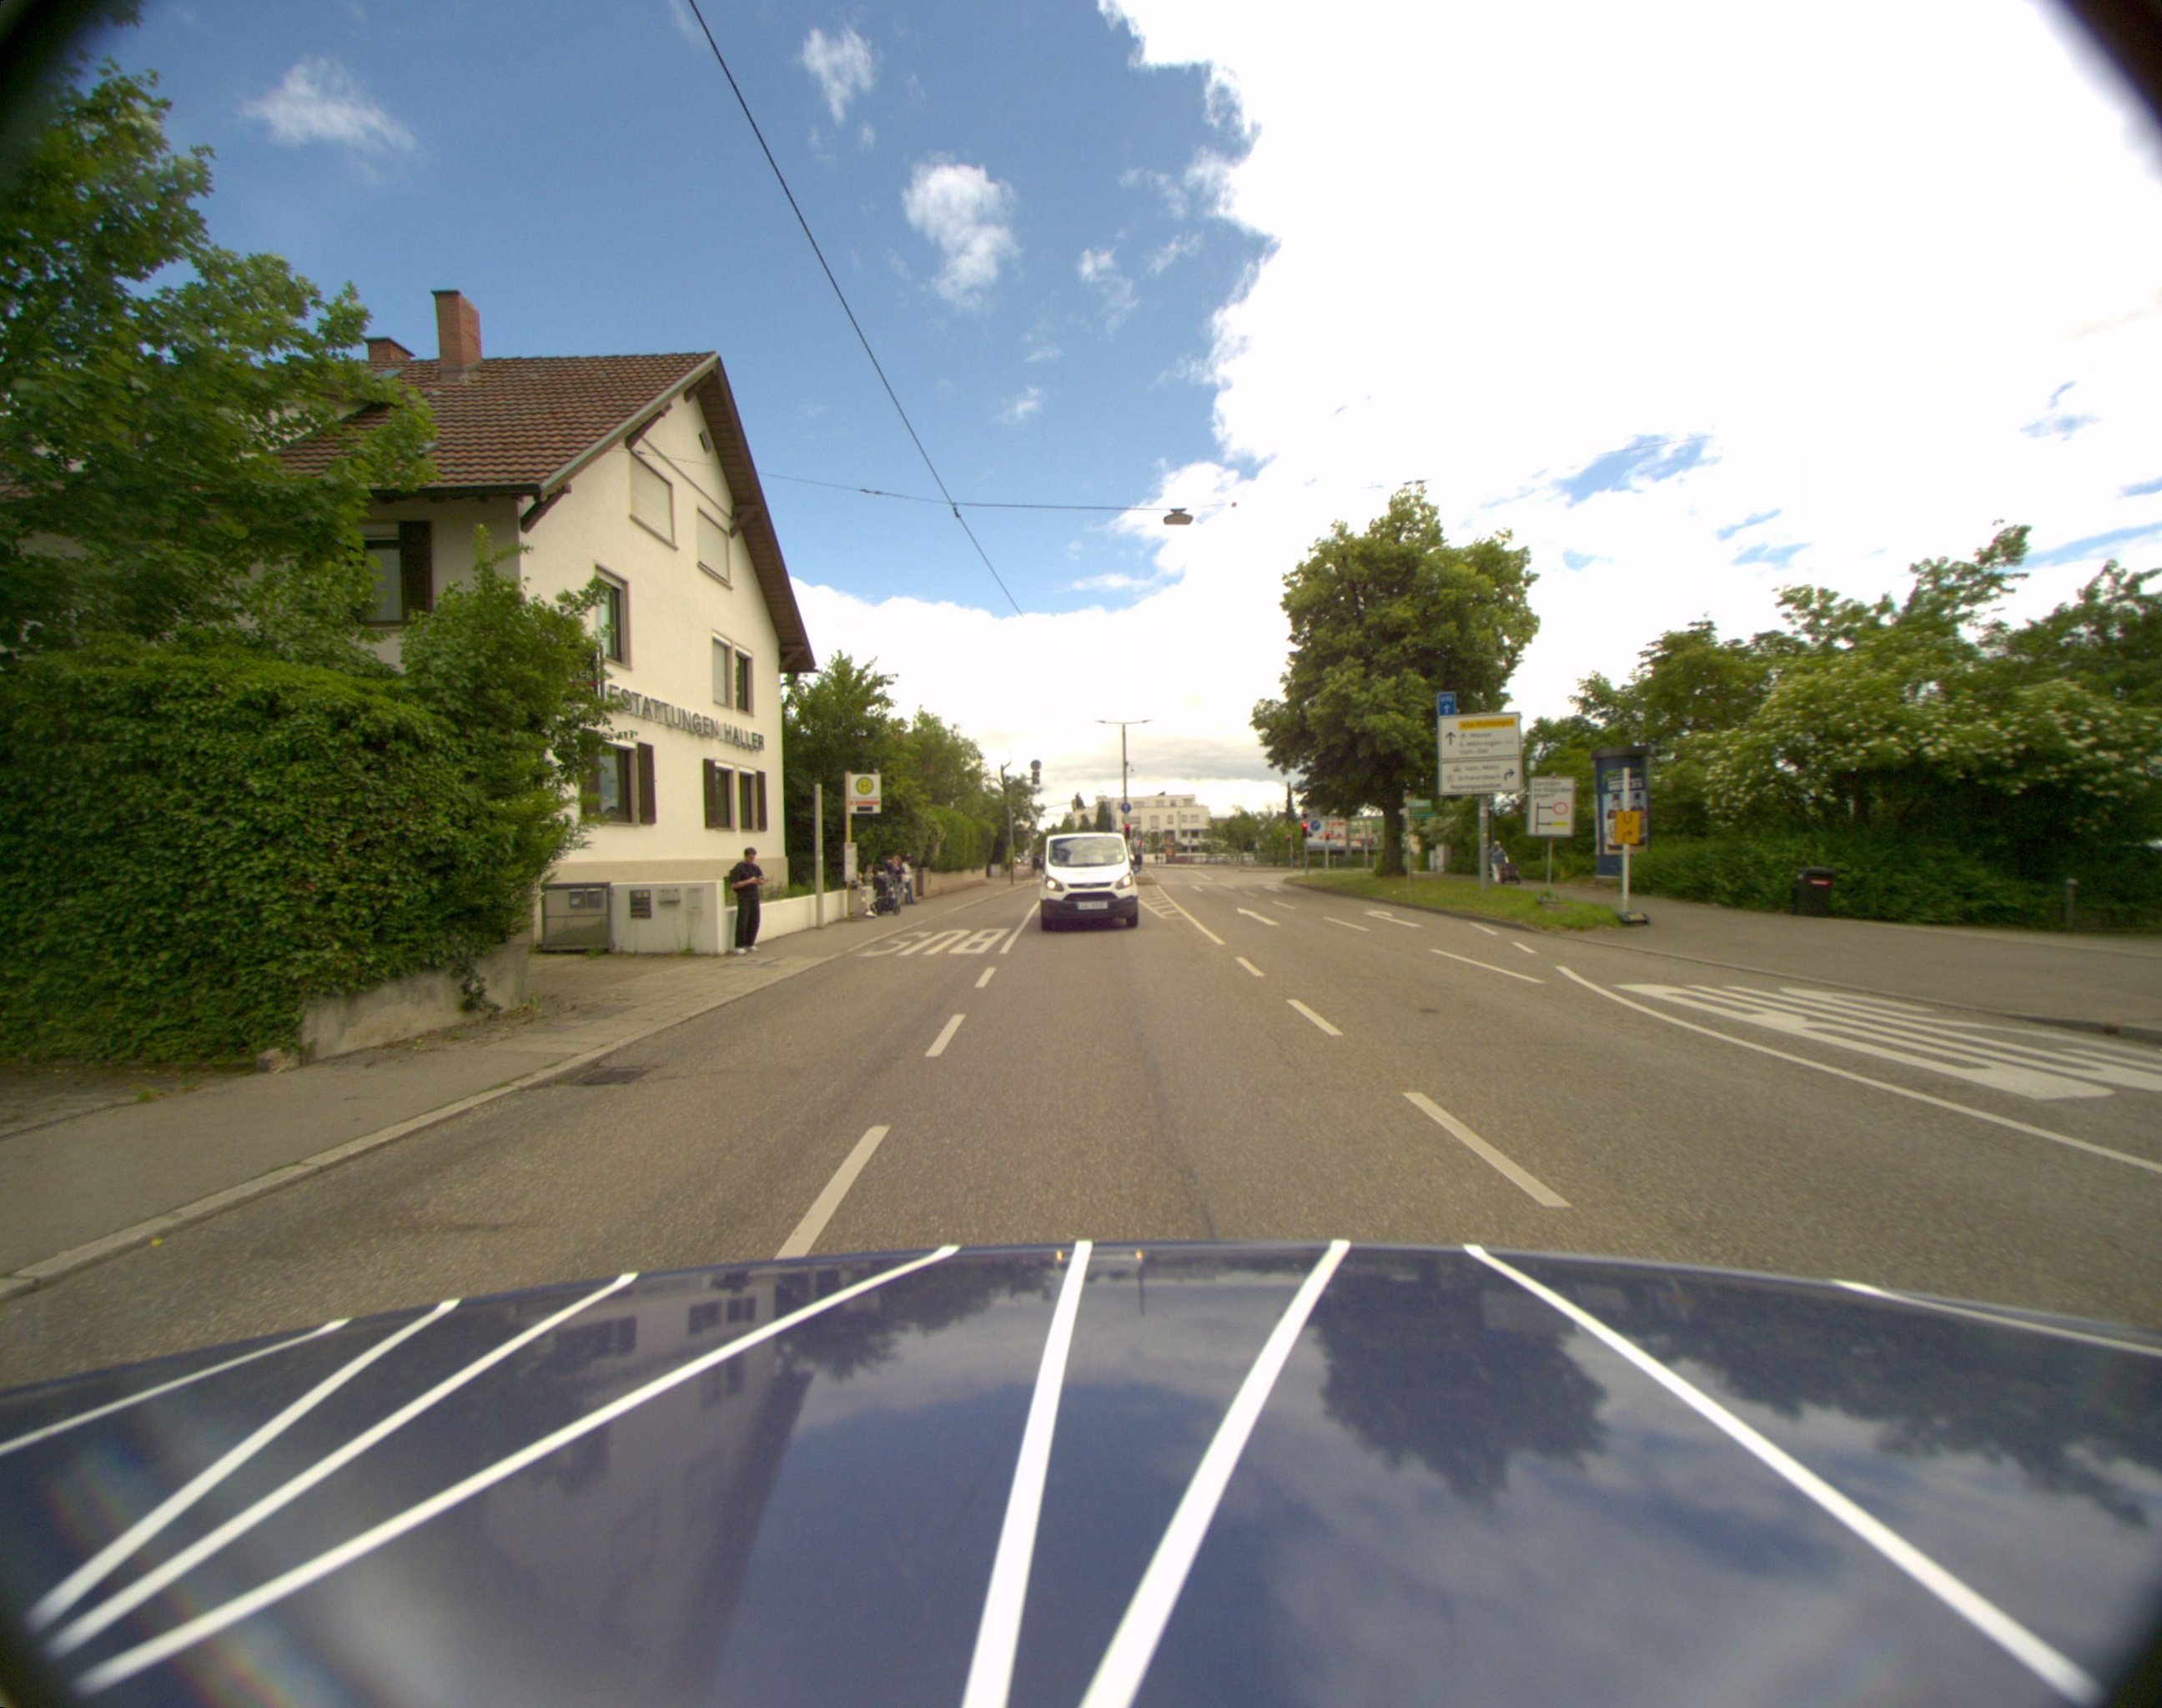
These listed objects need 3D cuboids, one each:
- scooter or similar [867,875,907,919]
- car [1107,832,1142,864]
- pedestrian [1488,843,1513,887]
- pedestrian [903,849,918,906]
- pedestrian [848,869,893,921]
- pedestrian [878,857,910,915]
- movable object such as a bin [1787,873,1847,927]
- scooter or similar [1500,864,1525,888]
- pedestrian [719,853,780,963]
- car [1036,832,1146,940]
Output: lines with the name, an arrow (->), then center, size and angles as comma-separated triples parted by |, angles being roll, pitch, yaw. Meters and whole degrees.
scooter or similar -> -5.086, 1.116, 19.962 | 0.478, 1.091, 0.860 | 3, 1, 44
car -> 3.838, -0.543, 68.847 | 2.196, 2.630, 7.442 | -3, 1, -3
pedestrian -> 15.159, 0.391, 27.477 | 0.672, 1.549, 0.520 | -2, 1, 18
pedestrian -> -5.273, 0.727, 23.525 | 0.344, 1.745, 0.496 | 2, 1, -3
pedestrian -> -5.241, 1.007, 18.962 | 0.916, 1.244, 0.789 | 2, 1, -4
pedestrian -> -5.109, 0.870, 20.809 | 0.661, 1.526, 0.748 | 2, 1, 0
movable object such as a bin -> 13.408, 0.831, 13.848 | 0.566, 0.922, 0.608 | -1, 1, 17
scooter or similar -> 15.119, 0.782, 26.631 | 0.607, 0.782, 0.860 | -2, 1, 18
pedestrian -> -5.477, 0.871, 12.574 | 0.489, 1.757, 0.672 | -2, 2, 33
car -> 0.199, 0.569, 17.323 | 1.998, 1.961, 5.714 | -2, 1, 0
